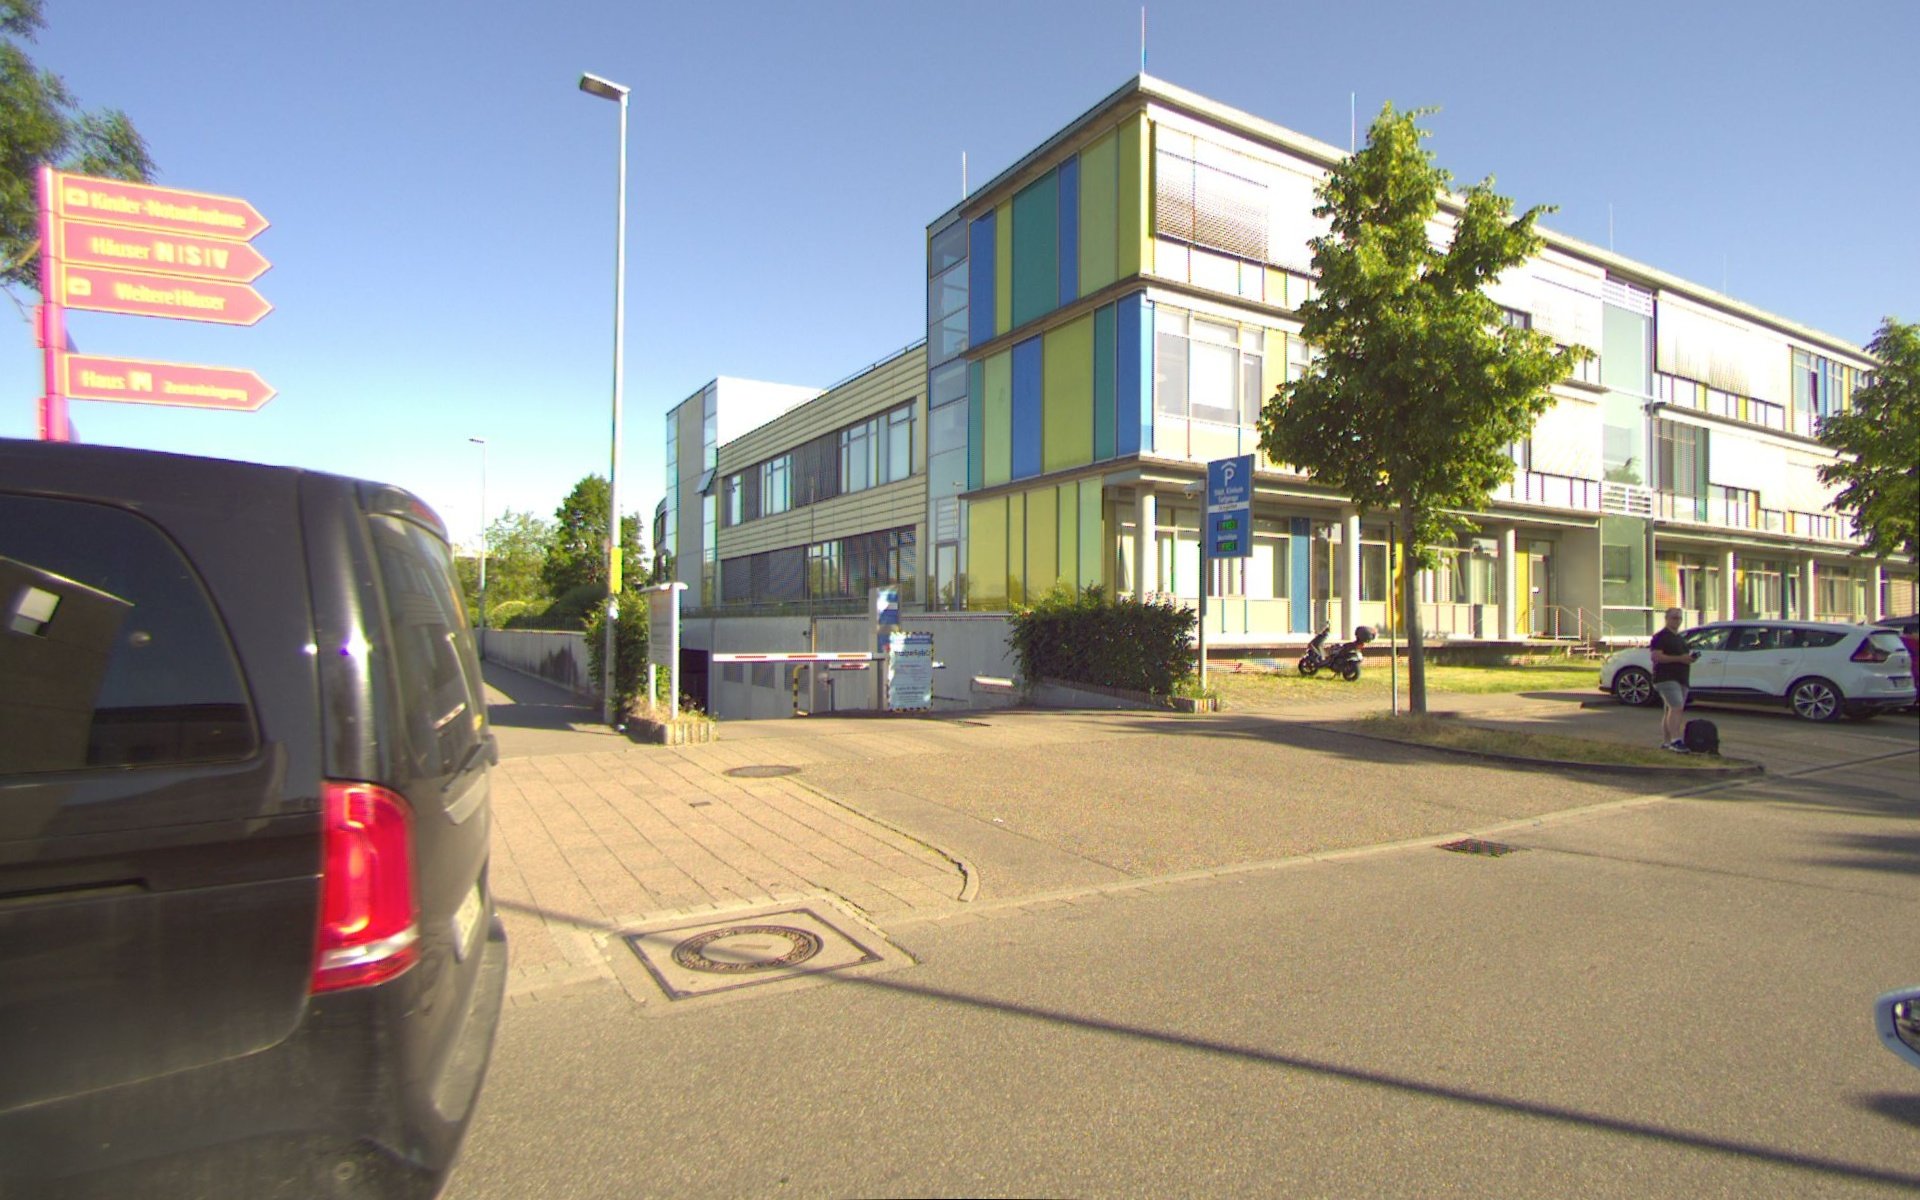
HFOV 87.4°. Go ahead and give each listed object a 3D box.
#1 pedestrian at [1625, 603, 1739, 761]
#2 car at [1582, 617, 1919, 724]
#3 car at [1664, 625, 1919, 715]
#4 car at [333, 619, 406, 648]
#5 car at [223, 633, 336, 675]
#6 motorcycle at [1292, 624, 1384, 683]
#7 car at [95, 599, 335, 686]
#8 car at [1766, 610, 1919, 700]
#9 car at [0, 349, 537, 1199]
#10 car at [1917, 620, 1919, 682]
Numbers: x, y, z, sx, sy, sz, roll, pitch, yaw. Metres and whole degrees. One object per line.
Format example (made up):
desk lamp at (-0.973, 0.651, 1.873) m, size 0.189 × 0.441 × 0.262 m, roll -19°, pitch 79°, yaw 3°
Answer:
pedestrian at (8.970, 0.980, 12.497) m, size 0.815 × 1.867 × 0.854 m, roll 1°, pitch 1°, yaw -29°
car at (14.085, 1.155, 18.138) m, size 1.843 × 1.673 × 4.595 m, roll 1°, pitch -1°, yaw -27°
car at (16.419, 1.265, 19.297) m, size 1.806 × 1.520 × 4.413 m, roll 1°, pitch -1°, yaw -30°
car at (-41.598, 2.354, 70.921) m, size 4.338 × 2.040 × 1.985 m, roll 1°, pitch -1°, yaw -28°
car at (-29.696, 2.316, 43.999) m, size 3.954 × 1.724 × 1.984 m, roll 1°, pitch -2°, yaw -31°
motorcycle at (8.428, 1.179, 22.491) m, size 0.494 × 1.165 × 2.031 m, roll 0°, pitch 2°, yaw -32°
car at (-16.461, 0.934, 22.447) m, size 4.048 × 1.813 × 1.501 m, roll 1°, pitch -1°, yaw -25°
car at (21.128, 1.202, 22.307) m, size 1.806 × 1.890 × 4.720 m, roll 1°, pitch 0°, yaw -30°
car at (-3.575, 0.550, 1.763) m, size 5.180 × 1.892 × 1.951 m, roll 1°, pitch -1°, yaw -23°
car at (27.248, 1.380, 25.523) m, size 1.853 × 1.628 × 3.962 m, roll 1°, pitch 0°, yaw -34°
